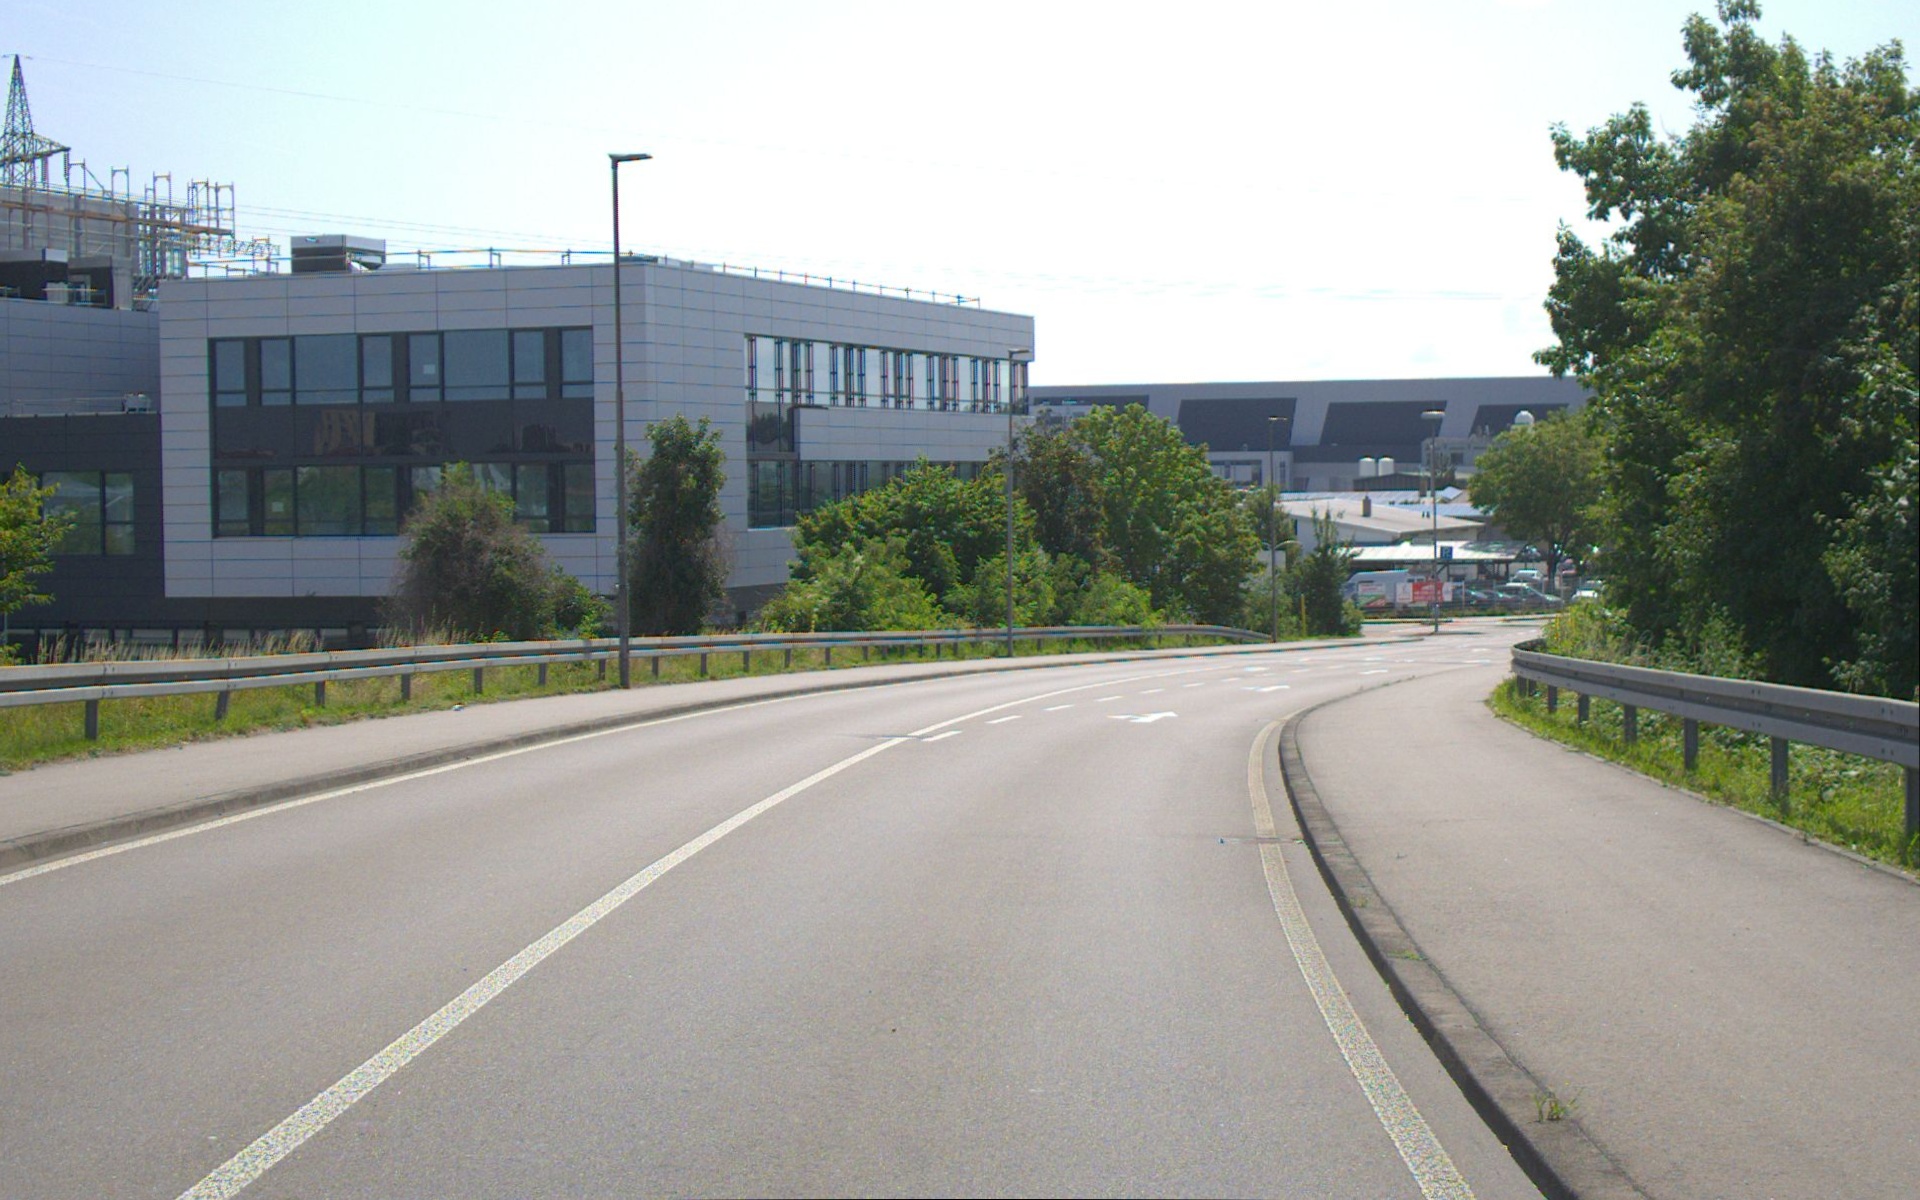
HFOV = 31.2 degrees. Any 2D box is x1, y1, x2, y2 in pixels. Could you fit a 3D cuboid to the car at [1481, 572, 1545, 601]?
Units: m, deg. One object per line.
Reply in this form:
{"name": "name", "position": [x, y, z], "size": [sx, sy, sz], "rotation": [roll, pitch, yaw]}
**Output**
{"name": "car", "position": [35.351, -0.880, 219.882], "size": [3.988, 1.844, 1.834], "rotation": [0, 1, 8]}

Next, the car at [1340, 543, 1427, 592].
{"name": "car", "position": [22.642, -1.728, 184.070], "size": [1.994, 2.599, 4.363], "rotation": [0, 1, -43]}

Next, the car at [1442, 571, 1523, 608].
{"name": "car", "position": [28.643, -0.591, 188.669], "size": [1.995, 1.897, 3.998], "rotation": [-2, 4, -44]}
